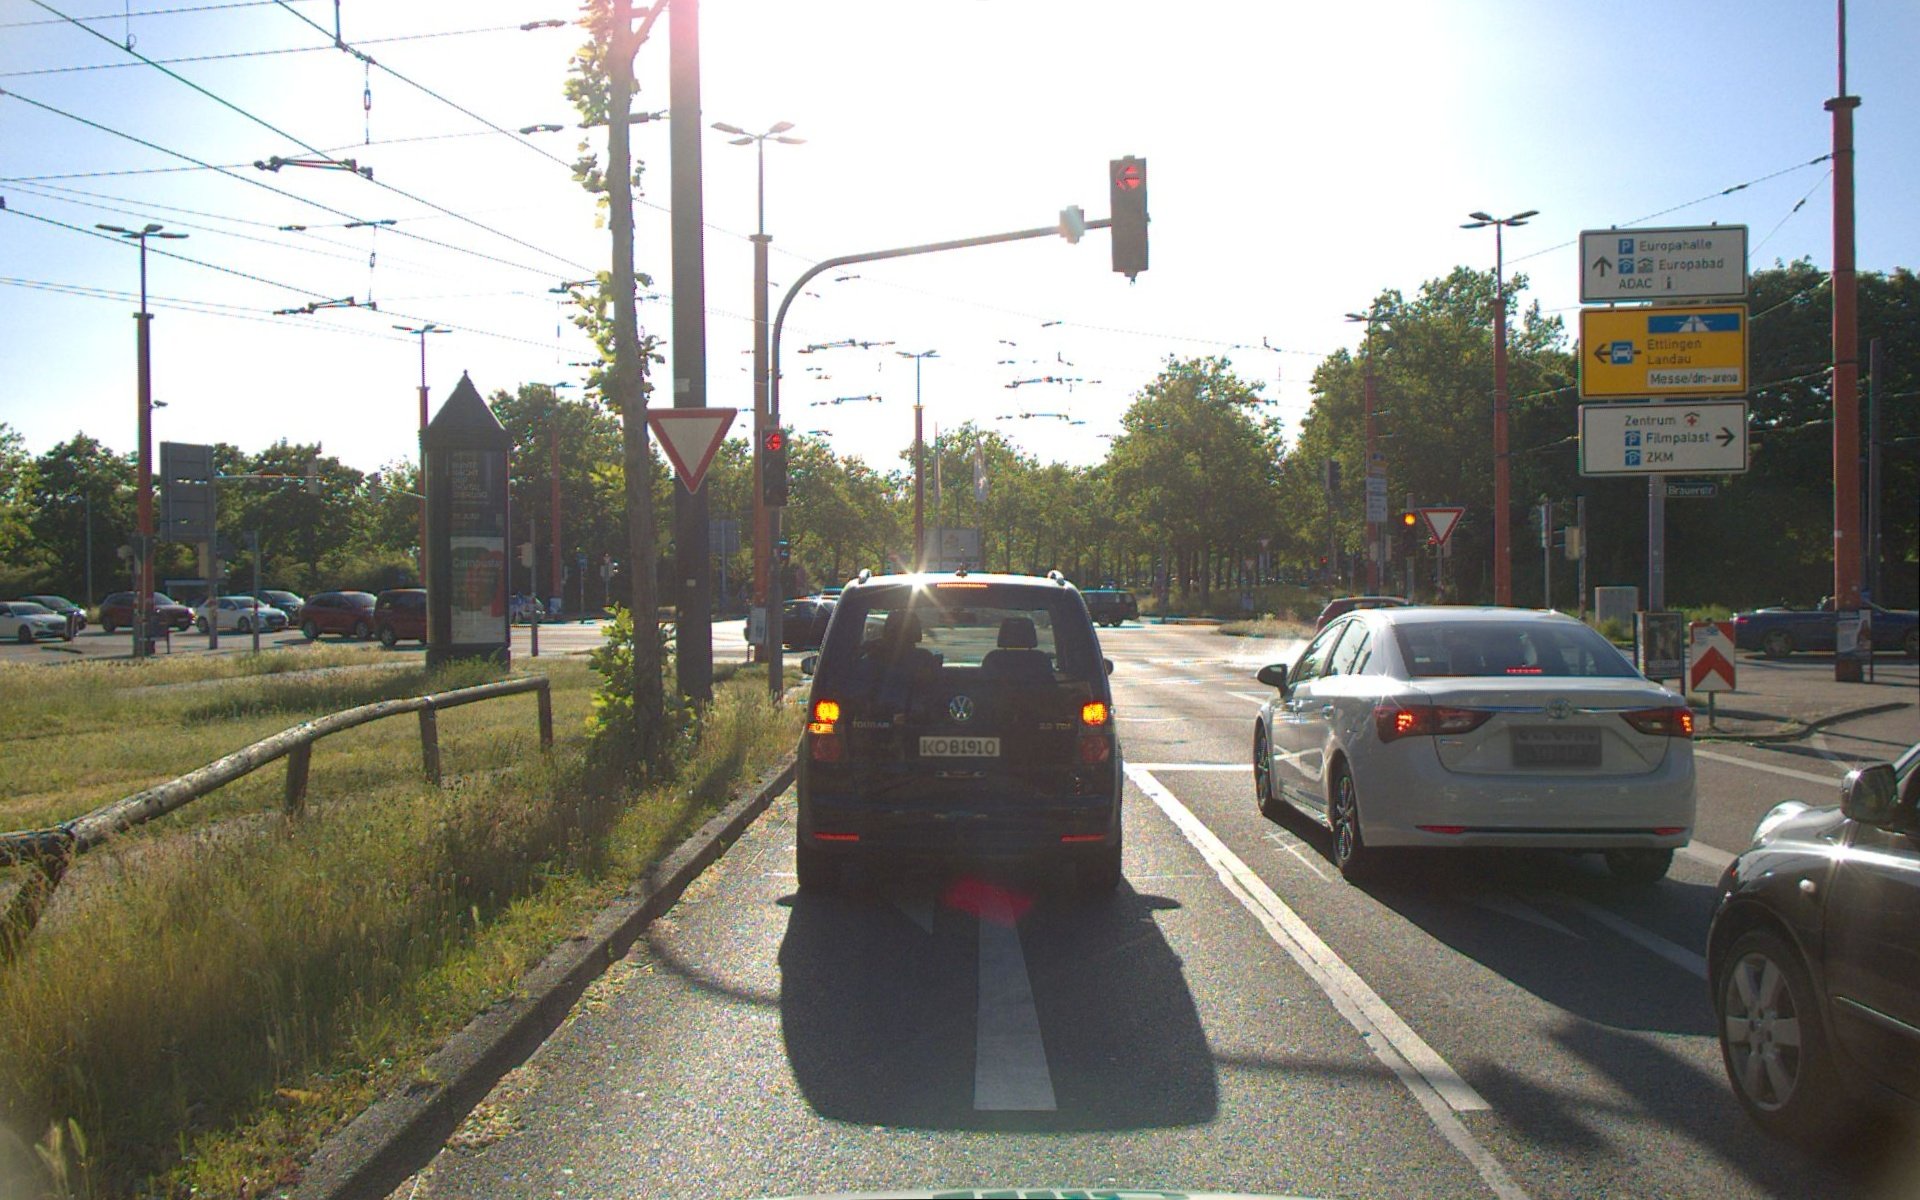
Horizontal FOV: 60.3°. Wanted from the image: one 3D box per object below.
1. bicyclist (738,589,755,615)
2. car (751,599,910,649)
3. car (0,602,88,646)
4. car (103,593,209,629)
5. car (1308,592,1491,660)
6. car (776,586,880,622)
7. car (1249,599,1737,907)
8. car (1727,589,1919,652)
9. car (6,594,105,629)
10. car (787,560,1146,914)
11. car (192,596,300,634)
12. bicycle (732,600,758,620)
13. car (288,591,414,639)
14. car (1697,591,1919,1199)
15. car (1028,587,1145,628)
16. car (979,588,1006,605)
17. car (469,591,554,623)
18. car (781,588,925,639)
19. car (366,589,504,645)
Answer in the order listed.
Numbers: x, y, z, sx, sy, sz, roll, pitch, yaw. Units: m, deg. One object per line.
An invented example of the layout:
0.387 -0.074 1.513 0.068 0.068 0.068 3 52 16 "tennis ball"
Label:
-12.203 0.092 94.429 0.678 1.483 0.875 0 0 17 "bicyclist"
-3.652 0.666 46.635 4.222 1.350 1.759 0 0 29 "car"
-35.749 0.887 63.137 4.818 1.602 1.998 0 0 27 "car"
-34.338 0.445 70.604 4.275 1.489 1.912 0 0 27 "car"
10.357 0.587 38.970 3.909 1.521 1.769 0 0 27 "car"
-6.097 0.161 76.267 4.365 1.624 1.998 0 0 26 "car"
2.946 0.740 10.099 1.679 1.480 4.144 0 0 0 "car"
20.136 0.448 37.880 4.564 1.386 1.769 0 0 28 "car"
-40.006 0.502 73.151 3.963 1.489 1.912 0 0 26 "car"
0.004 0.643 9.854 1.702 1.670 3.999 0 0 -1 "car"
-29.349 0.603 67.981 4.127 1.489 1.912 0 0 27 "car"
-12.234 0.567 94.209 0.719 1.109 1.962 0 0 18 "bicycle"
-22.259 0.538 60.407 4.463 1.697 1.840 0 0 28 "car"
3.125 0.743 3.499 1.525 1.532 3.515 0 0 -1 "car"
5.195 0.310 67.755 4.365 1.624 1.998 0 0 26 "car"
3.377 -0.397 169.914 1.951 1.714 4.833 0 0 11 "car"
-23.215 0.363 85.579 3.909 1.608 1.998 0 0 27 "car"
-3.290 0.397 50.803 4.140 1.505 1.751 0 0 29 "car"
-17.091 0.527 53.832 4.260 1.762 1.840 0 0 28 "car"
